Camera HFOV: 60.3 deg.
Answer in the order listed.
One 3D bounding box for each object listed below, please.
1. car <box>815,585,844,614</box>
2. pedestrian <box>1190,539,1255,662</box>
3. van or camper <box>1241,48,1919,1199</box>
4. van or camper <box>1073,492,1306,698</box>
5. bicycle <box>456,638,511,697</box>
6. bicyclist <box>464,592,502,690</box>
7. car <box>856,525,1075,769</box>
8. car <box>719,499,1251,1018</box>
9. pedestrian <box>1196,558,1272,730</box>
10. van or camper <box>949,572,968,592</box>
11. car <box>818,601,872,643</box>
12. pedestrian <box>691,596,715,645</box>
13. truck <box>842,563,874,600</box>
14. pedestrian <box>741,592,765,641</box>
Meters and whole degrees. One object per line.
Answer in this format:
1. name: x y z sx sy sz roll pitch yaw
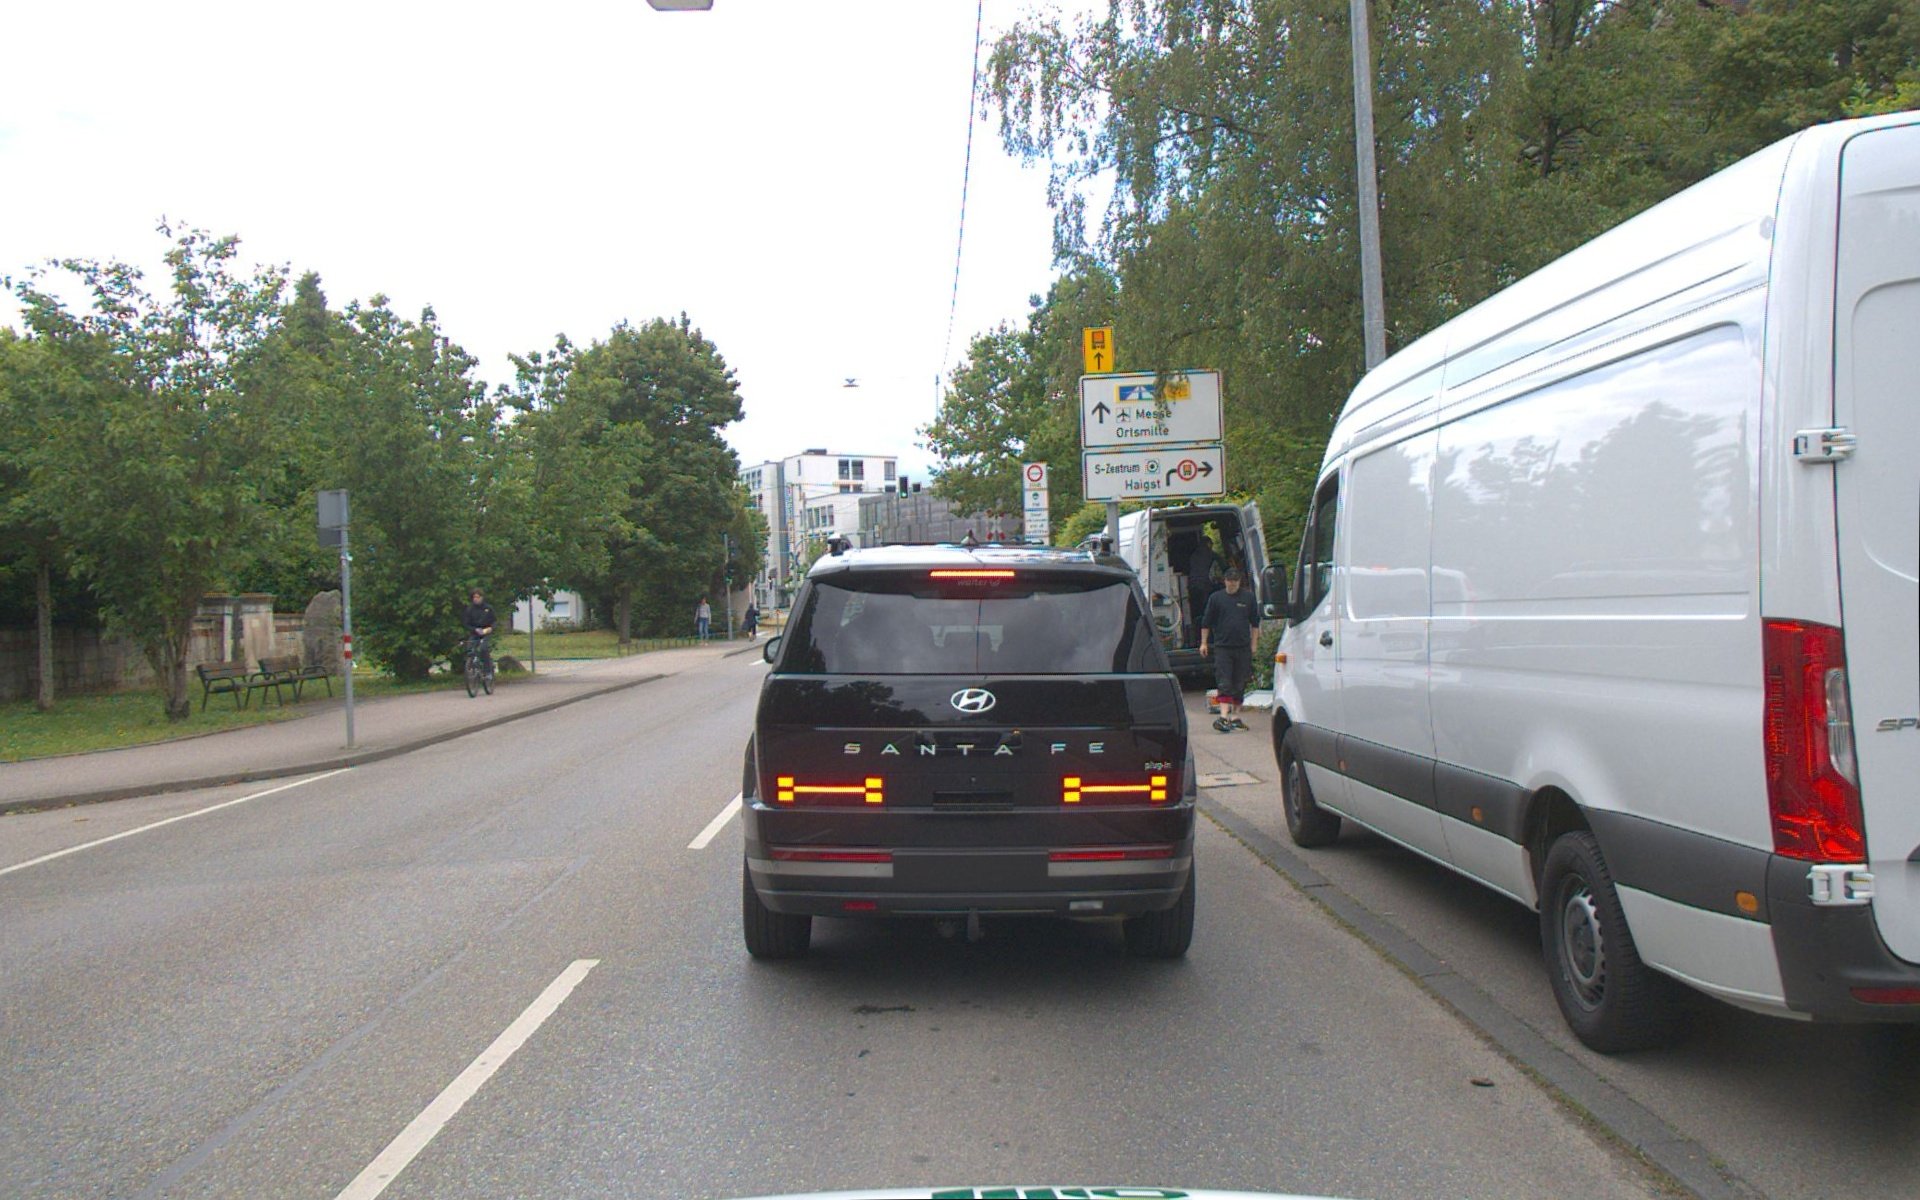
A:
1. car: -11.360 -0.022 144.035 2.288 2.356 4.950 -2 0 -7
2. pedestrian: 3.710 0.011 23.439 0.721 1.672 0.801 -3 -1 1
3. van or camper: 2.871 0.036 7.035 1.951 2.670 6.543 -5 0 -1
4. van or camper: 3.285 -0.017 25.317 2.294 2.537 6.600 -5 -1 -2
5. bicycle: -8.534 1.198 29.648 0.485 0.981 1.748 1 0 -1
6. bicyclist: -8.520 0.724 29.552 0.477 1.713 0.588 1 -1 -1
7. car: 0.023 0.417 16.330 1.858 2.077 3.993 1 0 -1
8. car: 0.064 0.573 7.864 1.858 1.807 3.993 1 0 -1
9. pedestrian: 2.869 0.453 17.331 0.734 1.751 0.792 -1 -1 9
10. van or camper: -0.168 -1.855 172.505 1.760 2.033 3.820 1 0 -4
11. car: -4.333 0.810 62.696 1.721 1.427 4.413 -4 0 -1
12. pedestrian: -9.556 0.755 61.577 0.751 1.779 0.904 0 0 -1
13. truck: -11.570 -2.002 186.914 3.048 3.926 9.607 -2 0 -7
14. pedestrian: -8.756 0.705 70.052 0.812 2.049 1.047 1 -1 1
